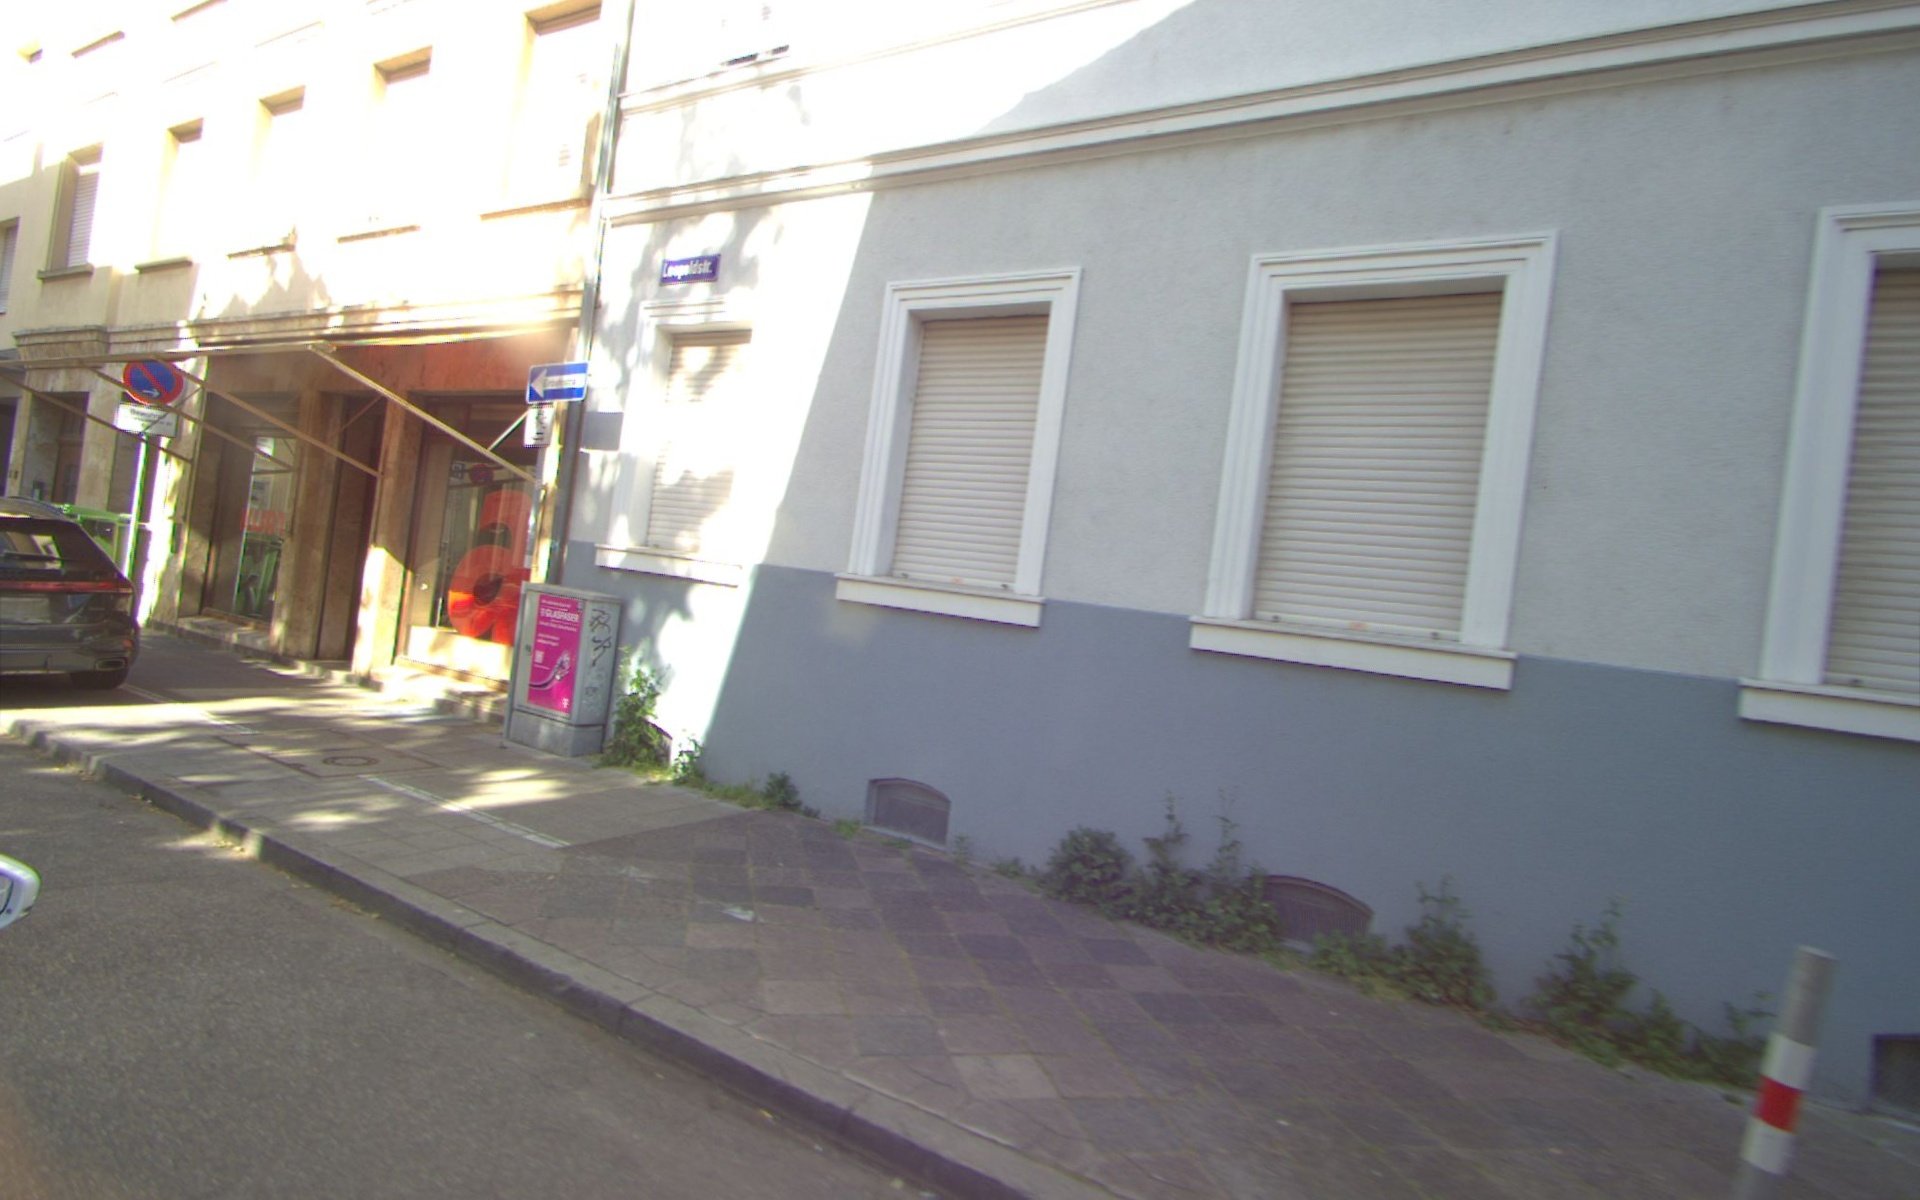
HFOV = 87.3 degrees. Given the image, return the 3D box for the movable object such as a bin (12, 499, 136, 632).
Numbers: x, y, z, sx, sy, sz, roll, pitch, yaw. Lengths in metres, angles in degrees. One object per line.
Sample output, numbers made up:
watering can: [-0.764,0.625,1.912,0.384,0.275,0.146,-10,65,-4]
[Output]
movable object such as a bin: [-10.750,-0.425,12.202,1.350,1.455,0.746,7,2,34]

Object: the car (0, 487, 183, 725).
car: [-8.442,-0.180,8.055,4.816,1.597,1.805,7,-2,32]
